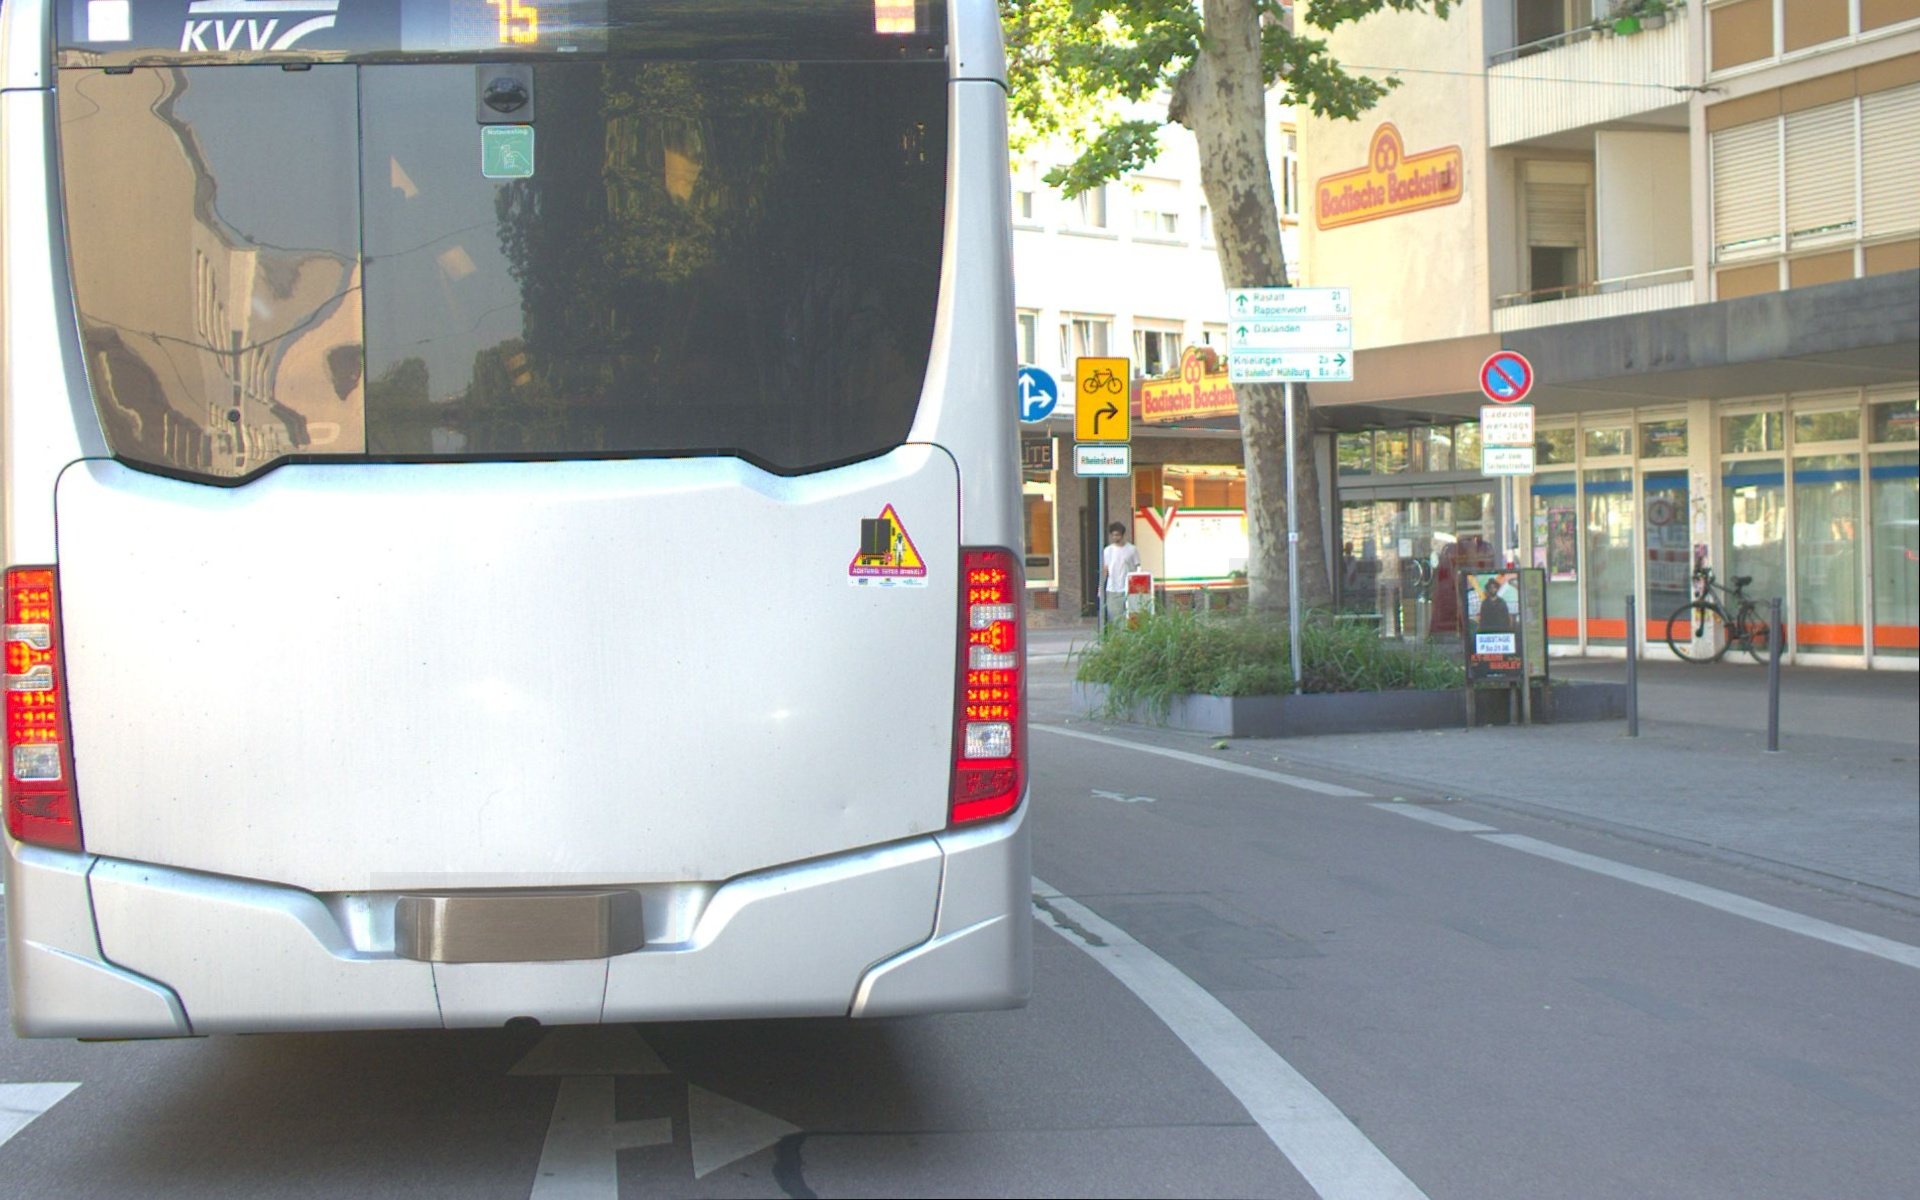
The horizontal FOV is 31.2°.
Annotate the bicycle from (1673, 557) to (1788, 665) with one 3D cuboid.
[{"bbox_3d":[8.106,0.106,36.220,0.437,1.089,1.462,-4,2,-19],"label":"bicycle"}]

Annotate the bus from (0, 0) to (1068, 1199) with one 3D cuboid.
[{"bbox_3d":[-1.664,-0.137,13.161,2.657,3.088,10.218,-1,1,-7],"label":"bus"}]

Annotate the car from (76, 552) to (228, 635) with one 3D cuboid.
[{"bbox_3d":[-16.129,-0.155,68.540,1.662,1.511,3.412,-5,4,-36],"label":"car"}]

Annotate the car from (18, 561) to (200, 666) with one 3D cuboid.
[{"bbox_3d":[-12.687,0.175,51.092,1.756,1.459,4.001,-1,1,-27],"label":"car"}]

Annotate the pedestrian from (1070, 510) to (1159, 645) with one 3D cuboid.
[{"bbox_3d":[2.014,-0.298,44.874,0.835,1.706,0.793,-3,2,-23],"label":"pedestrian"}]
